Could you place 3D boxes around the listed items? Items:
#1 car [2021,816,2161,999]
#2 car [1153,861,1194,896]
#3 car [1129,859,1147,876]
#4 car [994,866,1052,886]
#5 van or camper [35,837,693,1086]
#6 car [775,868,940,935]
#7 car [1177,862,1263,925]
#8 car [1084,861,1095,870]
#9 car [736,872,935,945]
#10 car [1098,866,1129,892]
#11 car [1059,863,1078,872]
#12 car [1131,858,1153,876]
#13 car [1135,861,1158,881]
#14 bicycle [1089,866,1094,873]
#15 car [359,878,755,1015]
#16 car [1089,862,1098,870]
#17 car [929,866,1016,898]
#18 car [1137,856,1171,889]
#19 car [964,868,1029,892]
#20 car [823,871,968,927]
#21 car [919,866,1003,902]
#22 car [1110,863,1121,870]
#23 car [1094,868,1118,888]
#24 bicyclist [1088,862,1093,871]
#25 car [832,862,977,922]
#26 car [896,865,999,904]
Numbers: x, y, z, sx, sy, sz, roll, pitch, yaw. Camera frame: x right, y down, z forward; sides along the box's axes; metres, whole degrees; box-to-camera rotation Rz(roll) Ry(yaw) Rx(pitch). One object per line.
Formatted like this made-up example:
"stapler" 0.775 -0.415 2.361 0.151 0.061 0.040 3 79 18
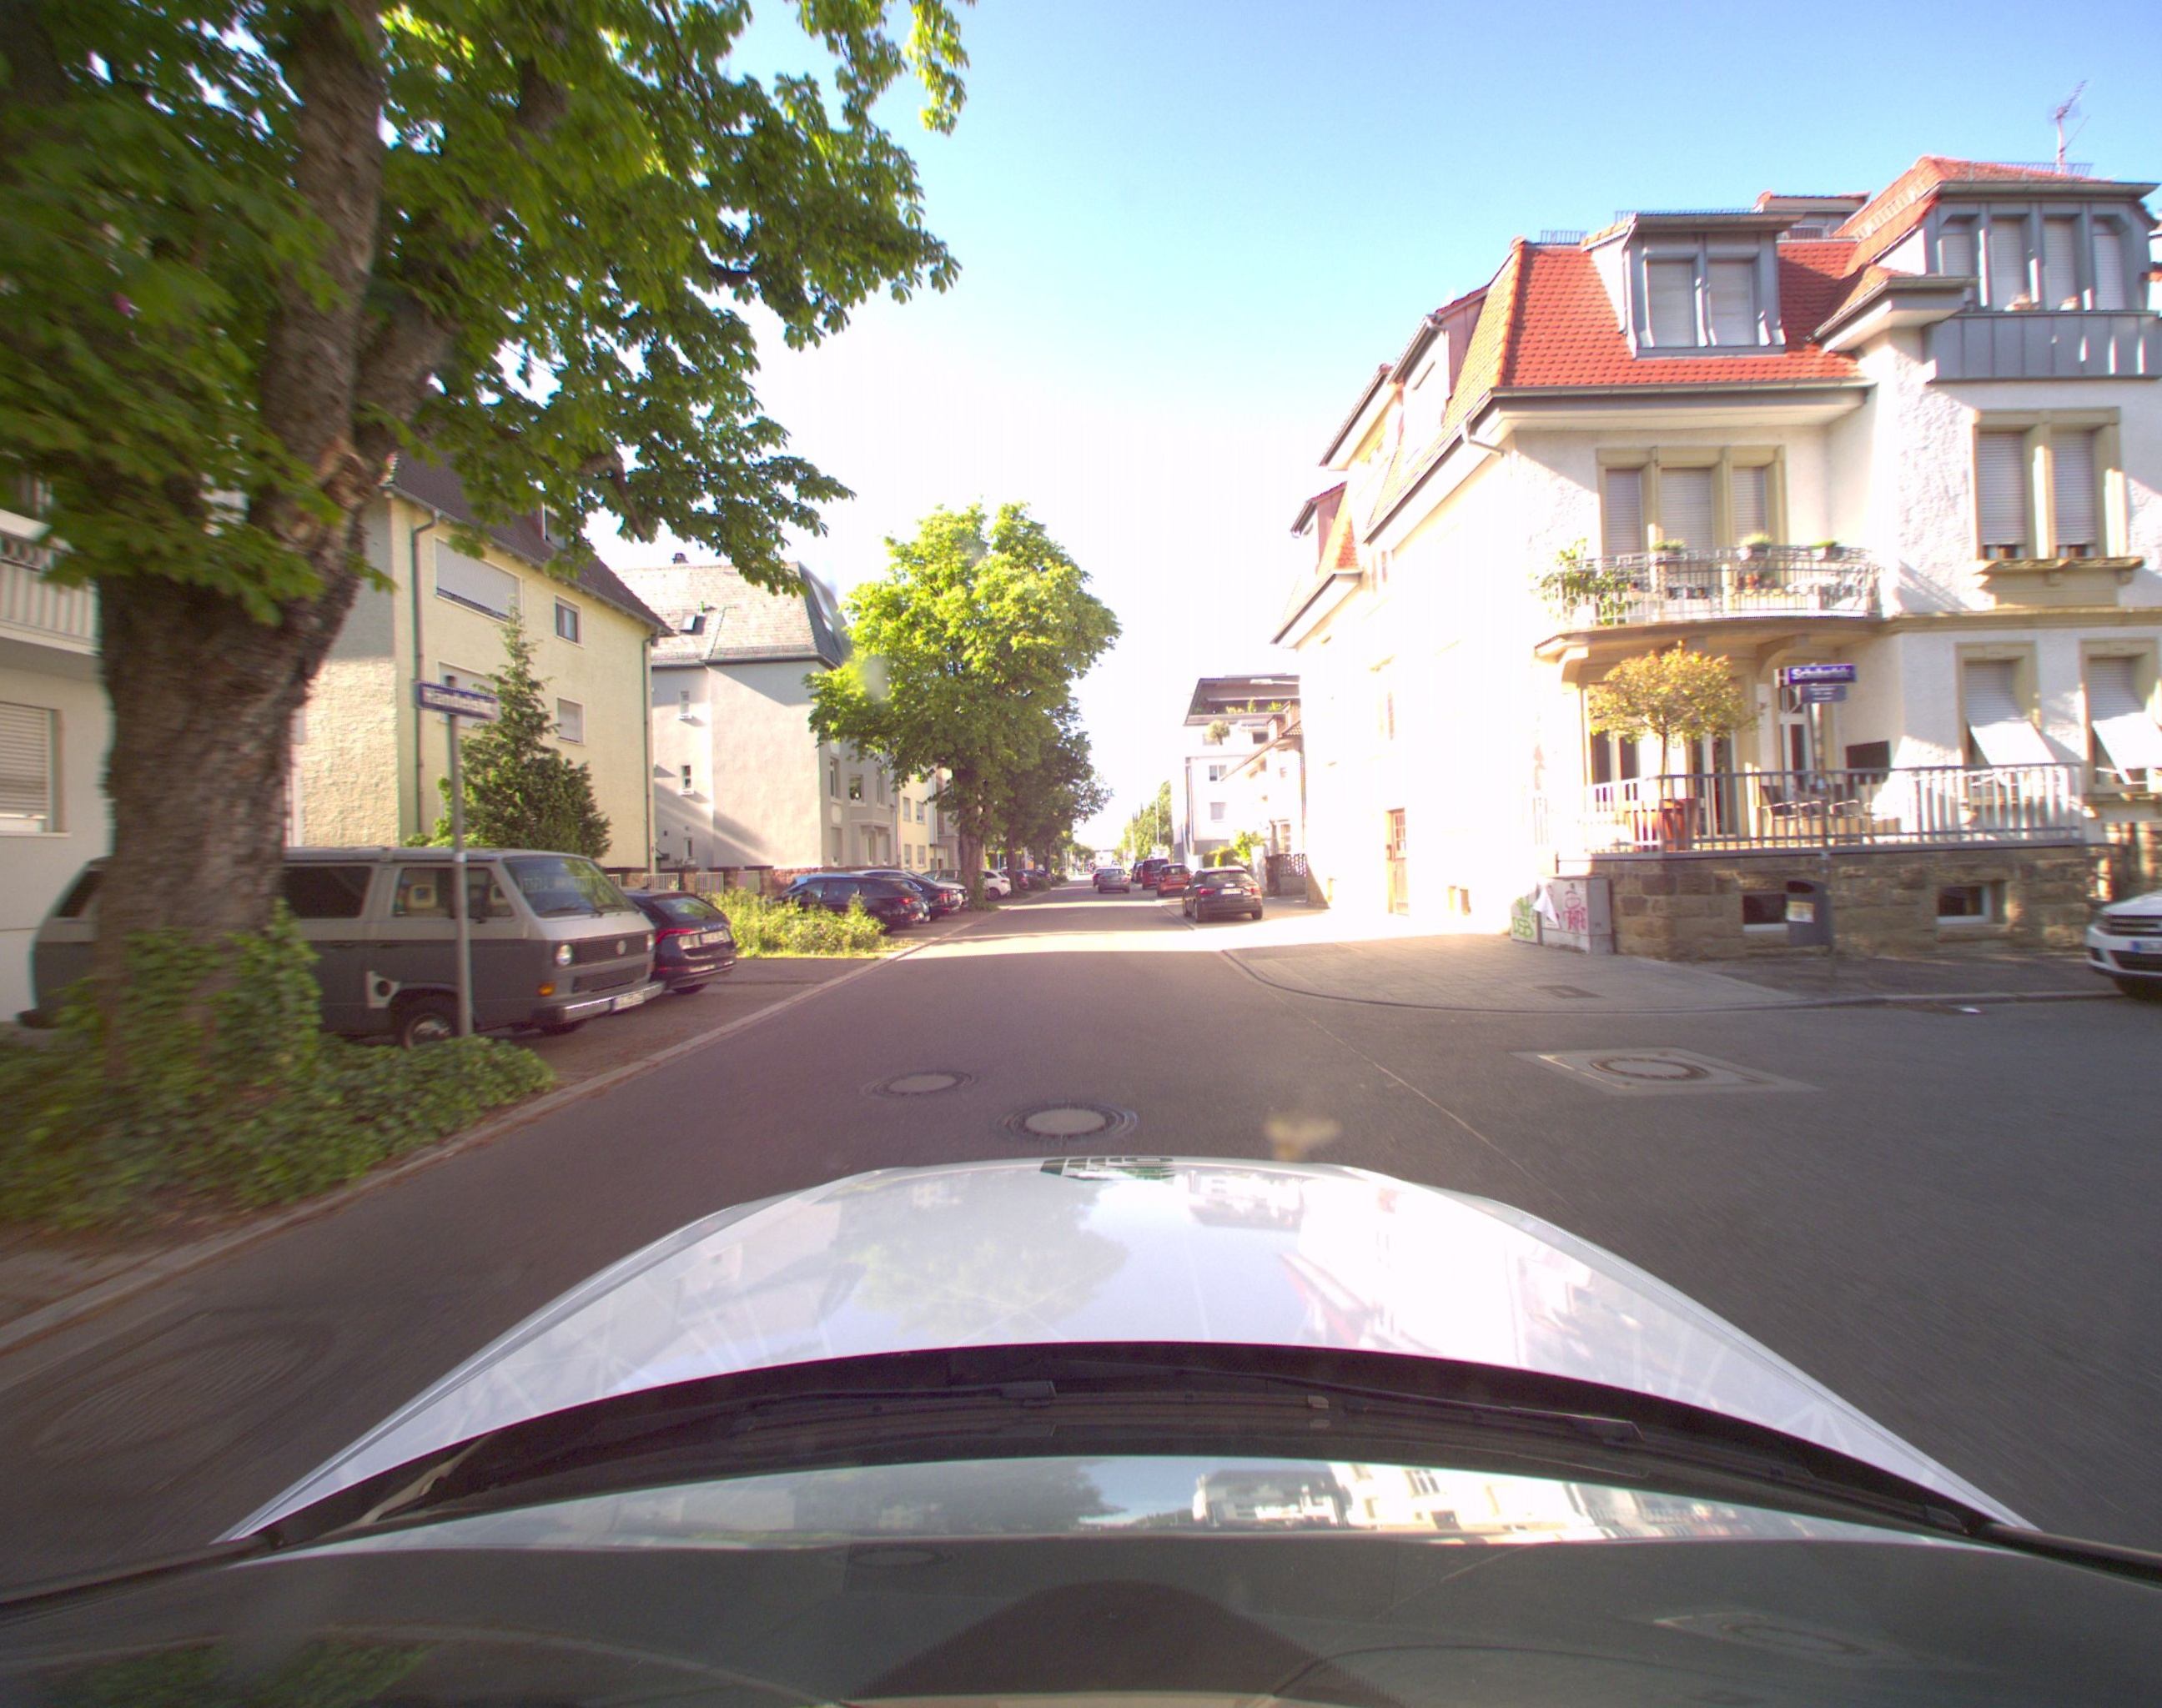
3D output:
"car" 11.357 0.404 7.221 3.976 1.591 1.790 -2 -3 -2
"car" 4.380 1.132 39.086 1.586 1.480 3.248 -4 -1 1
"car" 5.436 1.329 78.377 1.558 1.410 3.732 -6 -2 3
"car" -4.555 1.756 64.918 4.460 1.479 1.868 -1 -2 -1
"van or camper" -6.433 0.907 7.731 4.480 1.915 1.965 -2 -1 1
"car" -6.071 1.278 22.507 3.974 1.592 1.878 -2 -1 -1
"car" 3.743 1.017 22.556 1.614 1.440 3.934 -5 0 0
"car" 1.729 2.332 161.067 1.868 1.728 3.996 -2 0 -3
"car" -5.839 1.273 19.731 4.173 1.499 1.861 -2 -1 0
"car" 1.899 1.410 46.712 1.719 1.420 3.963 0 -1 3
"car" -2.388 2.605 155.681 3.488 1.533 1.642 -2 -1 -5
"car" 5.495 1.243 74.162 1.676 1.435 4.267 -6 -2 2
"car" 5.455 1.400 68.177 1.730 1.531 4.180 -2 -1 2
"bicycle" 1.616 2.487 130.237 0.716 1.079 1.892 -2 -1 2
"car" -6.418 1.101 10.247 3.928 1.498 1.664 -1 0 3
"car" 2.809 2.719 183.922 1.783 1.532 3.996 -6 -3 -2
"car" -5.270 1.369 39.880 4.008 1.485 1.807 0 0 1
"car" 4.573 1.169 51.659 1.864 1.905 5.201 -3 -1 3
"car" -5.404 1.683 52.371 3.973 1.421 1.771 -1 1 0
"car" -5.589 1.353 24.871 3.973 1.468 1.697 -2 -1 1
"car" -5.508 1.367 37.691 3.499 1.575 1.773 -1 0 4
"car" 6.895 2.470 163.163 1.718 1.330 3.996 -2 -1 -3
"car" 1.871 1.809 61.636 1.701 1.448 4.203 0 -1 1
"bicyclist" 1.592 1.984 130.289 0.718 1.537 1.137 -2 -1 2
"car" -5.922 1.256 27.636 4.369 1.652 1.824 -3 1 2
"car" -5.672 1.299 34.921 3.969 1.575 1.983 -1 0 4
